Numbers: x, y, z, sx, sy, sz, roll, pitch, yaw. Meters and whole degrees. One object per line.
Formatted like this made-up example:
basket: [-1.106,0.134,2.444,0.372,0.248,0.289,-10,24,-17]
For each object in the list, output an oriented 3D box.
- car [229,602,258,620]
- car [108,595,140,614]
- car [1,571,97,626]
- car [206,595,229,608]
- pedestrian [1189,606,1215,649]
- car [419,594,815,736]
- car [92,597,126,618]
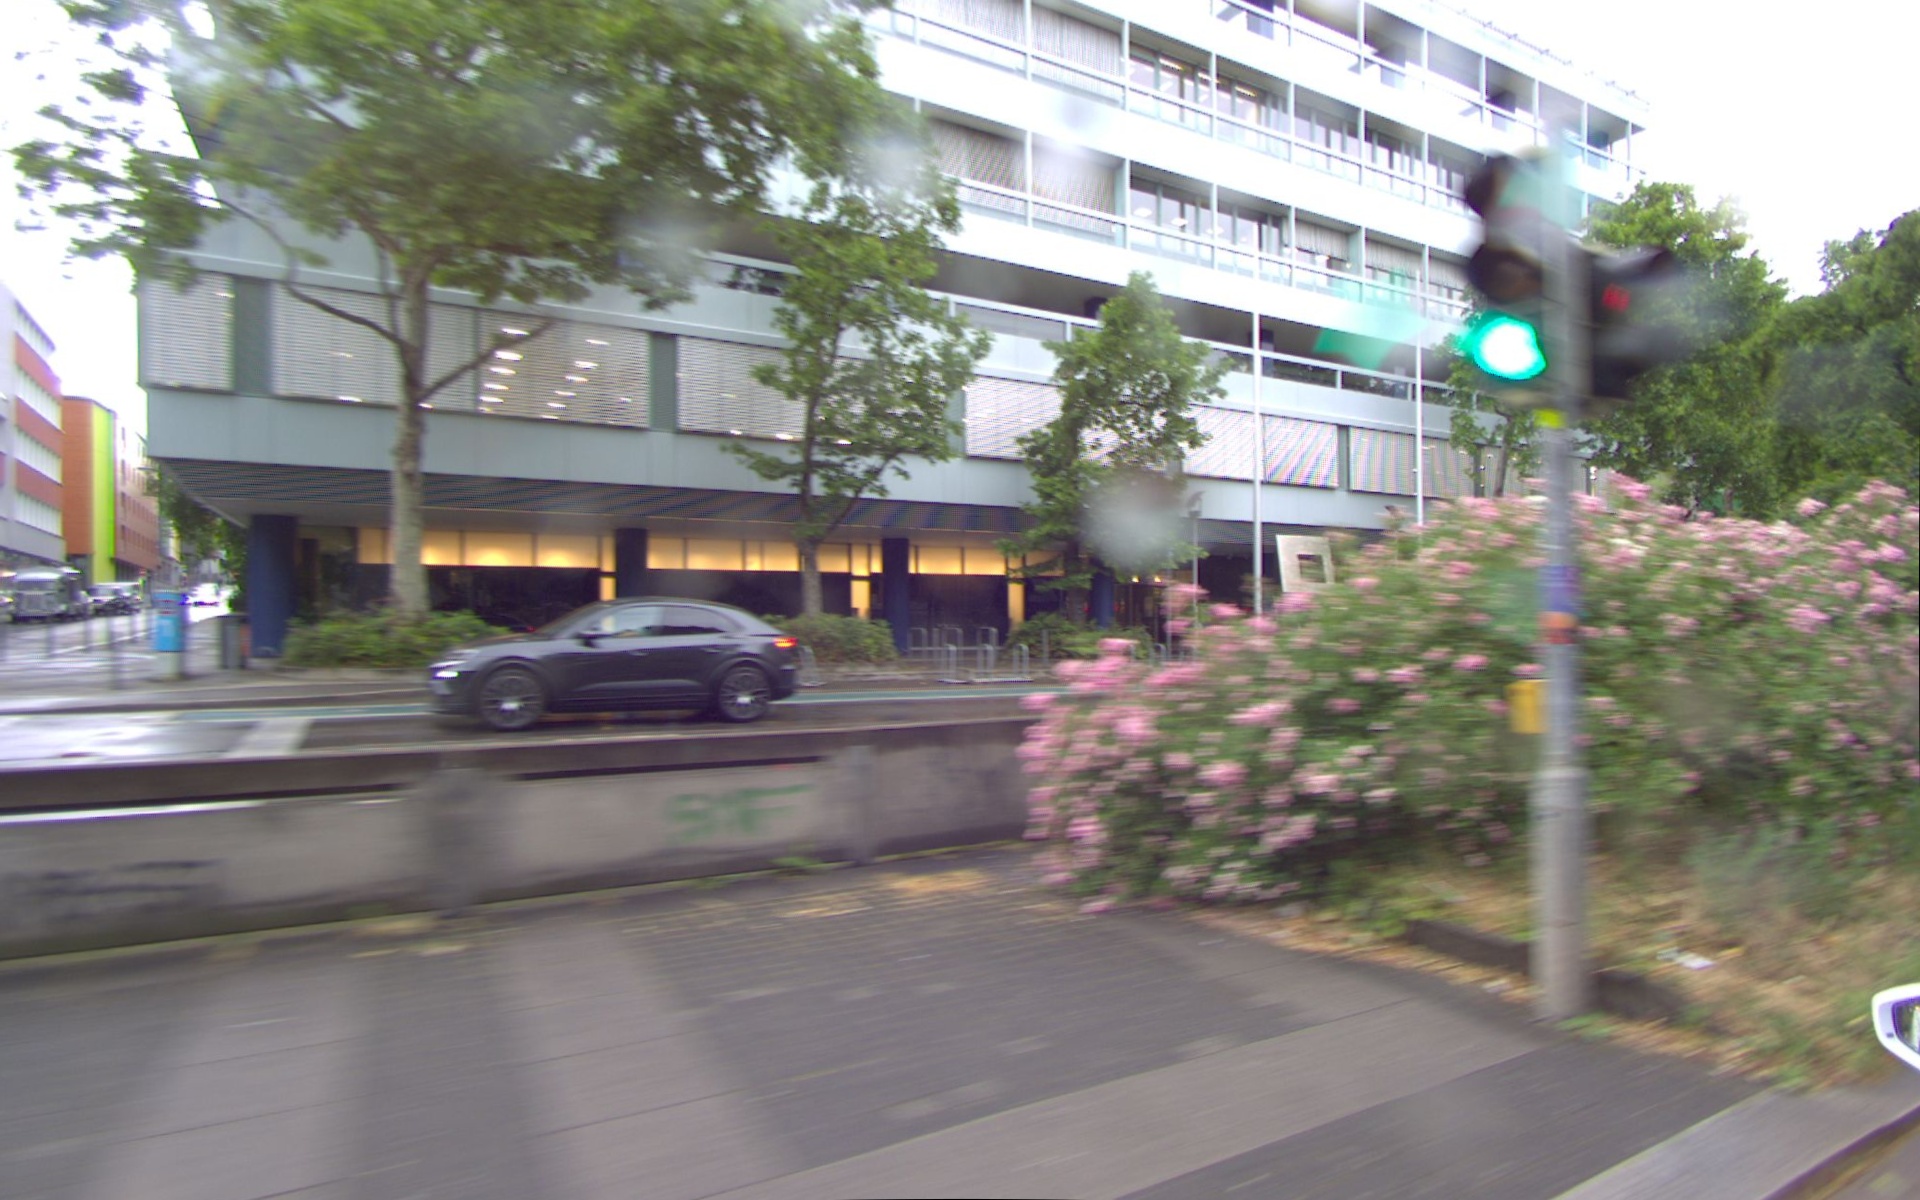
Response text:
car: [-67.258,1.026,94.366,1.978,1.528,3.964,2,0,-32]
car: [-52.550,0.272,63.185,1.275,1.148,2.655,2,0,-35]
car: [-42.088,-0.109,46.574,2.227,2.354,6.701,2,0,-33]
car: [-91.646,0.204,123.980,1.978,1.528,3.964,2,0,-32]
pedestrian: [8.084,0.913,33.572,0.469,1.398,0.634,2,0,-33]
car: [-4.491,0.812,13.403,4.685,1.605,1.903,2,0,-27]
car: [-49.602,0.410,58.552,1.243,1.148,2.592,2,0,-35]
